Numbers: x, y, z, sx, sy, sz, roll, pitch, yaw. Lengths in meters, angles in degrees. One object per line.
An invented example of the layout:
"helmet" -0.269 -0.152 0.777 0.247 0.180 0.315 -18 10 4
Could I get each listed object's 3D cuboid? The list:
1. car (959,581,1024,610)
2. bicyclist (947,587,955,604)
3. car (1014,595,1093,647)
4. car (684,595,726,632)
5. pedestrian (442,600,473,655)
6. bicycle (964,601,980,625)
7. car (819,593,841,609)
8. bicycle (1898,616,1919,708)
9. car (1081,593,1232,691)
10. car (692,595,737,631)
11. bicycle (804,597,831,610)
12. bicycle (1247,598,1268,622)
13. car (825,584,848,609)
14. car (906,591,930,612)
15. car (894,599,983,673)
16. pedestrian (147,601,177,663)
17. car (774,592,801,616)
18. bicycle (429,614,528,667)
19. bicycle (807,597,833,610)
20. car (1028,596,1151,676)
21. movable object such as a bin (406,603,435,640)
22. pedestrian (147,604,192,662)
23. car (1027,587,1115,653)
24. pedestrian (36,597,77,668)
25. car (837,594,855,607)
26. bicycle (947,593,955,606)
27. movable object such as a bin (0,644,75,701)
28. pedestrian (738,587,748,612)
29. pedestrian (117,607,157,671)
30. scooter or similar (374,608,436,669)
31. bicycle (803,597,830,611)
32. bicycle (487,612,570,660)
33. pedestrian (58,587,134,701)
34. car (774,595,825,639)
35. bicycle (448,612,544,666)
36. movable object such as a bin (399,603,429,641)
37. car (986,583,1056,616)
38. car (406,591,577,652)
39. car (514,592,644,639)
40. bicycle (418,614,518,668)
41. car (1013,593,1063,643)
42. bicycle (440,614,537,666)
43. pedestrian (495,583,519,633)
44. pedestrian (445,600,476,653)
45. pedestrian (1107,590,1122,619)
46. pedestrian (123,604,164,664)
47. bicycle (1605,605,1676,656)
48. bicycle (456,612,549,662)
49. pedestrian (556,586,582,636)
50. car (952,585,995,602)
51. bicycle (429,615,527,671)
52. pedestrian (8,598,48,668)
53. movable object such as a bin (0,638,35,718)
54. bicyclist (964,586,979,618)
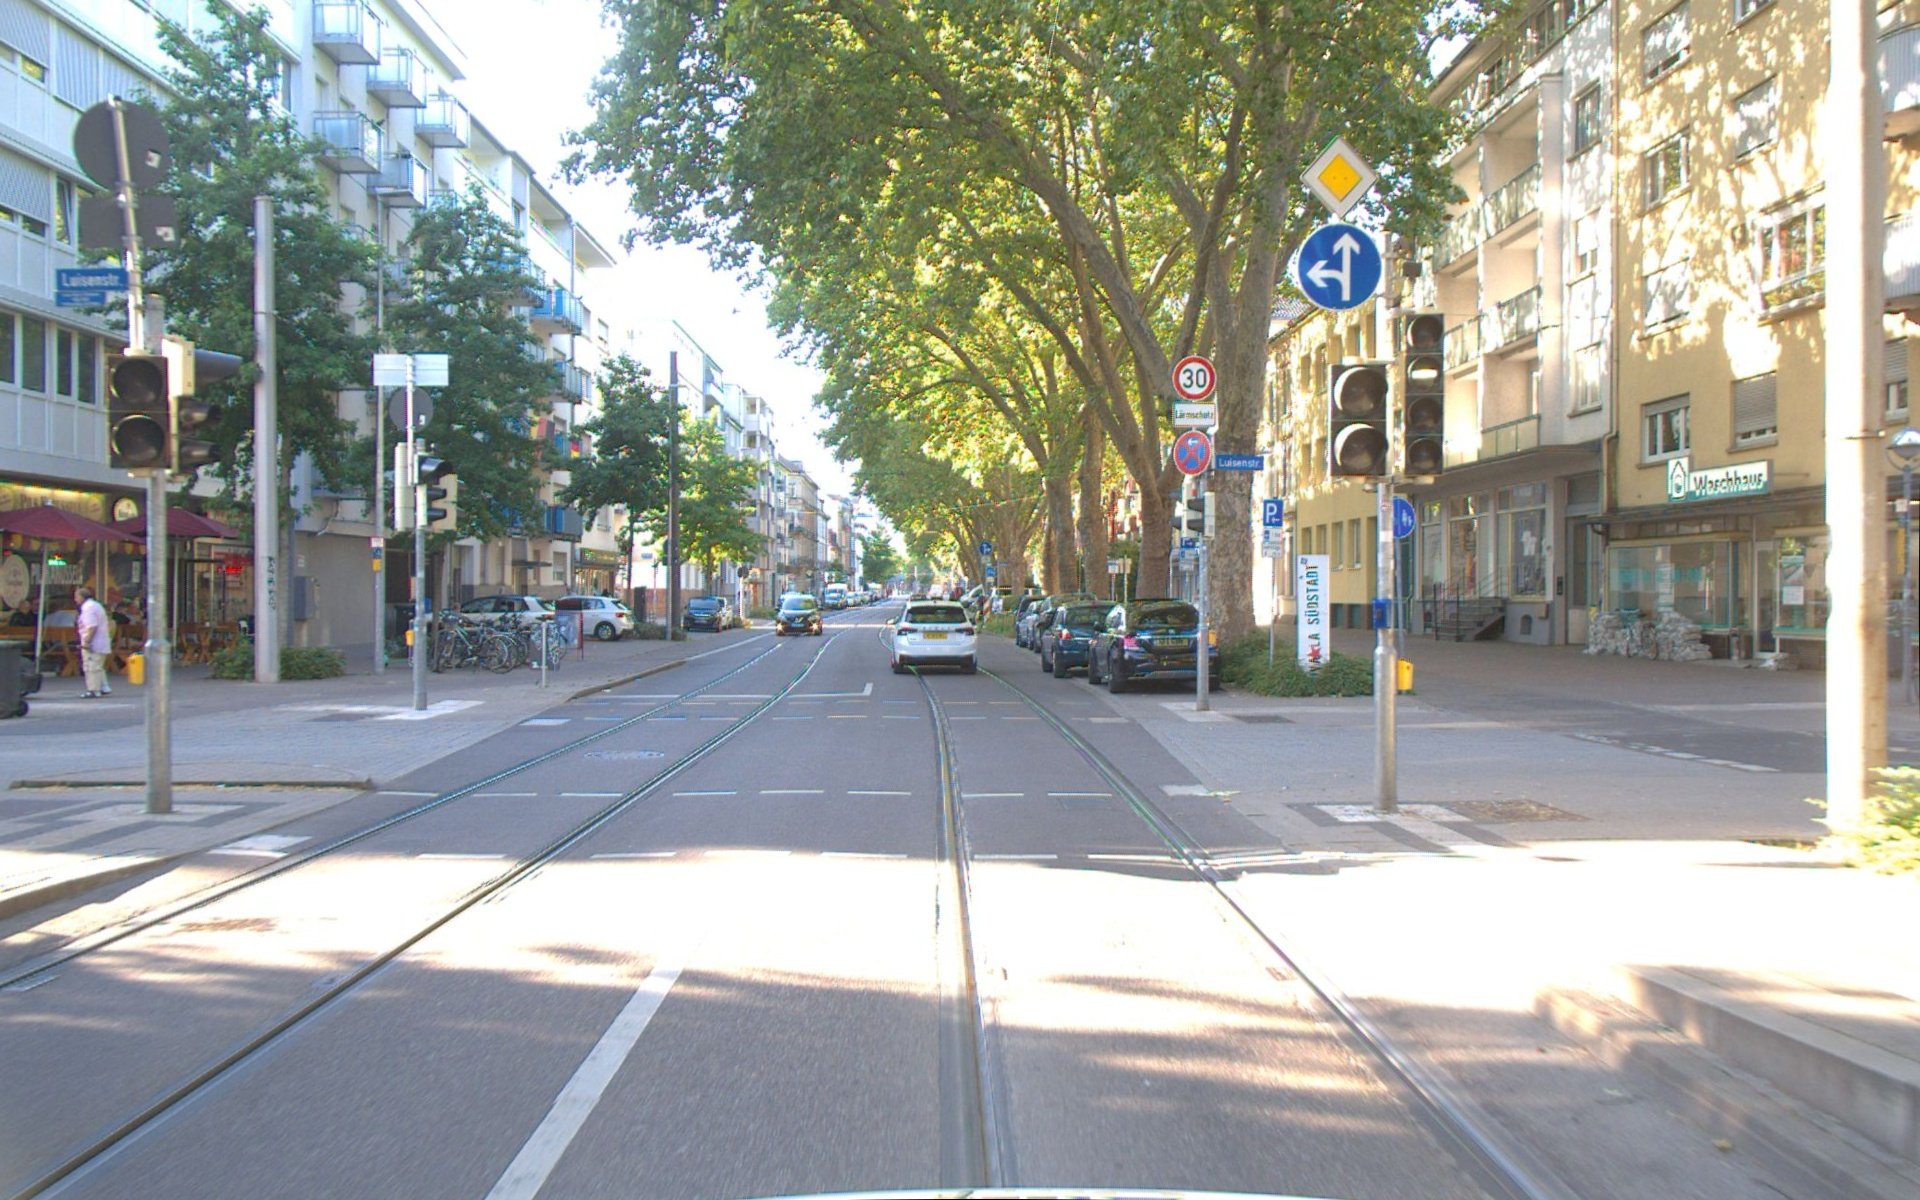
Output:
"car" 2.931 -0.425 156.337 6.008 2.681 2.528 0 0 -3
"bicyclist" -0.774 -0.350 137.362 0.636 1.367 0.934 -1 0 -3
"car" 2.791 0.646 50.210 1.781 1.461 4.598 -1 -1 -5
"car" -11.031 0.575 71.735 1.681 1.489 3.993 3 0 -8
"pedestrian" -12.233 0.659 40.284 0.700 1.320 0.744 -1 0 -15
"bicycle" 0.552 0.618 76.858 0.667 1.089 1.780 -1 0 -1
"car" -13.054 0.120 165.842 1.953 1.557 3.999 0 0 -1
"bicycle" 13.187 0.775 21.552 1.767 1.177 0.740 -2 0 -23
"car" 3.197 0.637 27.839 1.729 1.488 5.009 0 0 -3
"car" -11.333 0.586 76.515 1.680 1.489 4.372 3 0 -5
"bicycle" -13.299 0.338 154.686 2.477 1.193 0.718 2 -2 -8
"bicycle" 14.086 0.459 78.304 0.571 1.123 1.922 -2 0 -2
"car" -13.216 -0.419 177.564 2.134 2.642 4.948 0 0 -1
"car" -3.185 0.112 125.008 1.726 1.501 3.999 -1 0 -1
"car" -0.500 0.693 34.138 1.726 1.408 3.998 -1 0 -2
"pedestrian" -15.869 0.625 32.887 0.506 1.219 0.558 -1 0 -30
"car" -12.582 0.255 121.034 1.668 1.679 4.239 2 0 -3
"bicycle" -9.647 0.815 33.193 1.794 1.025 0.657 1 -1 -6
"bicycle" -13.406 0.329 158.462 2.477 1.193 0.718 2 -2 -7
"car" 2.543 0.677 33.470 1.828 1.462 4.222 -1 0 -4
"movable object such as a bin" -15.847 0.624 48.607 0.658 1.074 0.574 -1 0 0
"pedestrian" -16.964 0.712 35.507 0.659 1.219 0.655 -1 0 -2
"car" 2.951 0.540 44.759 1.821 1.631 4.779 -1 -1 -3
"pedestrian" -15.811 0.559 28.953 0.503 1.219 0.561 -1 0 -17
"car" -13.663 0.057 197.883 1.953 1.557 3.999 0 0 -1
"bicycle" -0.766 -0.065 137.350 0.636 1.089 1.582 -1 0 -3
"movable object such as a bin" -13.080 1.009 23.103 1.176 0.771 0.661 1 -1 -23
"pedestrian" -16.348 -0.028 124.814 0.650 1.858 0.965 0 0 -3
"pedestrian" -15.936 0.740 32.019 0.595 1.219 0.683 -1 0 -36
"scooter or similar" -11.112 0.762 33.143 1.058 1.197 0.498 1 -1 -3
"bicycle" -13.344 0.336 153.803 2.510 1.193 0.870 3 -2 -41
"bicycle" -9.463 0.783 36.329 1.658 1.025 0.657 1 -1 -6
"pedestrian" -12.282 0.616 23.517 0.711 1.583 0.768 -1 0 -7
"car" -6.327 0.638 65.376 1.834 1.617 4.143 2 0 -4
"bicycle" -9.571 0.808 34.140 1.794 1.082 0.657 1 -1 -6
"movable object such as a bin" -15.839 0.633 47.968 0.664 1.074 0.622 -1 0 0
"car" 3.993 -0.022 109.366 4.453 2.113 1.999 0 0 -4
"car" -12.298 0.558 43.580 3.931 1.501 1.851 1 0 -1
"car" -12.692 0.512 55.242 3.933 1.501 1.850 1 0 -4
"bicycle" -9.728 0.812 32.750 1.794 1.025 0.657 1 -1 -6
"car" 2.572 0.592 54.743 1.531 1.545 2.910 -2 -1 1
"bicycle" -9.628 0.819 33.840 1.794 1.025 0.657 1 -1 -6
"pedestrian" -15.741 0.276 57.530 0.650 1.720 0.748 0 0 -3
"pedestrian" -12.522 0.661 41.517 0.700 1.320 0.908 -1 0 -15
"pedestrian" 10.004 0.281 107.372 0.751 1.899 1.187 -1 0 -5
"pedestrian" -16.894 0.703 34.222 0.550 1.219 0.624 -1 0 -2
"bicycle" 14.037 0.617 34.157 0.559 1.014 1.778 -2 0 -6
"bicycle" -9.654 0.773 34.972 1.794 1.025 0.657 1 -1 -6
"pedestrian" -13.652 0.372 57.702 0.748 1.720 0.794 0 0 -3
"car" 1.881 -0.916 235.163 6.008 2.322 2.528 0 0 -3
"bicycle" -9.108 0.813 31.286 1.658 1.025 0.657 1 -1 -6
"pedestrian" -16.509 0.580 29.285 0.557 1.219 0.506 -1 0 -36
"movable object such as a bin" -11.730 0.958 20.306 0.530 0.948 0.647 -1 0 -18
"bicyclist" 0.549 0.104 76.825 0.664 1.468 1.047 -1 0 0
